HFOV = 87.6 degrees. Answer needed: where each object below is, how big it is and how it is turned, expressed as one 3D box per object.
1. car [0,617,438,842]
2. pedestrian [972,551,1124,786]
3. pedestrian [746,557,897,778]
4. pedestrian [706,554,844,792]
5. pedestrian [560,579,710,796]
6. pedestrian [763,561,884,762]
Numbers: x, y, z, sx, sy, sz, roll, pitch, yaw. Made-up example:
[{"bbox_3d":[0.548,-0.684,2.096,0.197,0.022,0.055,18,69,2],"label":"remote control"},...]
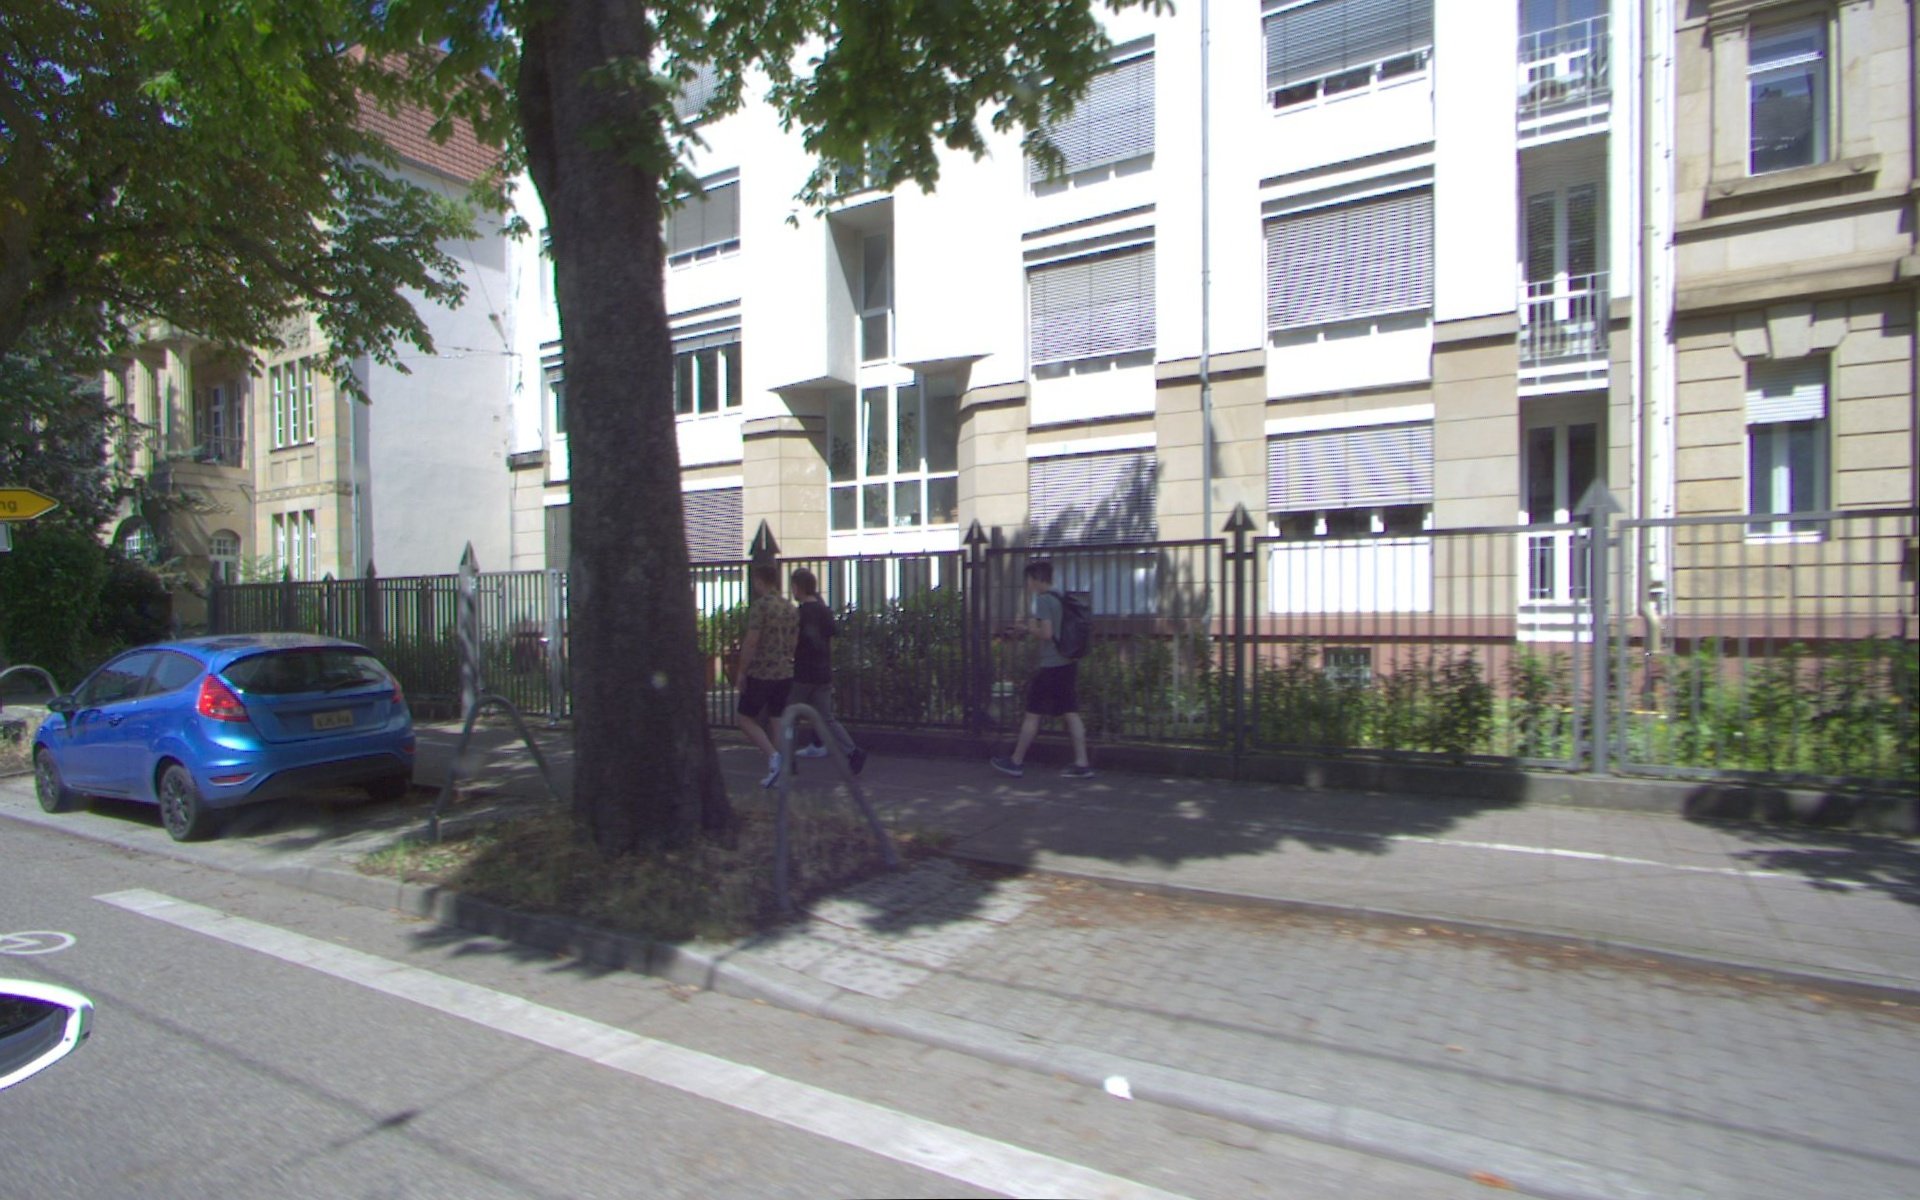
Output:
[{"bbox_3d":[-6.401,0.928,8.565,3.665,1.463,1.674,-1,3,30],"label":"car"},{"bbox_3d":[0.736,0.539,8.329,1.068,1.821,0.683,0,0,31],"label":"pedestrian"},{"bbox_3d":[-1.199,0.556,8.691,1.036,1.785,0.786,0,0,31],"label":"pedestrian"},{"bbox_3d":[-1.516,0.561,8.164,0.700,1.800,0.938,0,0,-44],"label":"pedestrian"},{"bbox_3d":[-2.700,0.682,8.331,0.961,1.673,0.764,0,0,36],"label":"pedestrian"},{"bbox_3d":[-1.317,0.572,9.697,0.962,1.835,0.659,0,0,31],"label":"pedestrian"}]
